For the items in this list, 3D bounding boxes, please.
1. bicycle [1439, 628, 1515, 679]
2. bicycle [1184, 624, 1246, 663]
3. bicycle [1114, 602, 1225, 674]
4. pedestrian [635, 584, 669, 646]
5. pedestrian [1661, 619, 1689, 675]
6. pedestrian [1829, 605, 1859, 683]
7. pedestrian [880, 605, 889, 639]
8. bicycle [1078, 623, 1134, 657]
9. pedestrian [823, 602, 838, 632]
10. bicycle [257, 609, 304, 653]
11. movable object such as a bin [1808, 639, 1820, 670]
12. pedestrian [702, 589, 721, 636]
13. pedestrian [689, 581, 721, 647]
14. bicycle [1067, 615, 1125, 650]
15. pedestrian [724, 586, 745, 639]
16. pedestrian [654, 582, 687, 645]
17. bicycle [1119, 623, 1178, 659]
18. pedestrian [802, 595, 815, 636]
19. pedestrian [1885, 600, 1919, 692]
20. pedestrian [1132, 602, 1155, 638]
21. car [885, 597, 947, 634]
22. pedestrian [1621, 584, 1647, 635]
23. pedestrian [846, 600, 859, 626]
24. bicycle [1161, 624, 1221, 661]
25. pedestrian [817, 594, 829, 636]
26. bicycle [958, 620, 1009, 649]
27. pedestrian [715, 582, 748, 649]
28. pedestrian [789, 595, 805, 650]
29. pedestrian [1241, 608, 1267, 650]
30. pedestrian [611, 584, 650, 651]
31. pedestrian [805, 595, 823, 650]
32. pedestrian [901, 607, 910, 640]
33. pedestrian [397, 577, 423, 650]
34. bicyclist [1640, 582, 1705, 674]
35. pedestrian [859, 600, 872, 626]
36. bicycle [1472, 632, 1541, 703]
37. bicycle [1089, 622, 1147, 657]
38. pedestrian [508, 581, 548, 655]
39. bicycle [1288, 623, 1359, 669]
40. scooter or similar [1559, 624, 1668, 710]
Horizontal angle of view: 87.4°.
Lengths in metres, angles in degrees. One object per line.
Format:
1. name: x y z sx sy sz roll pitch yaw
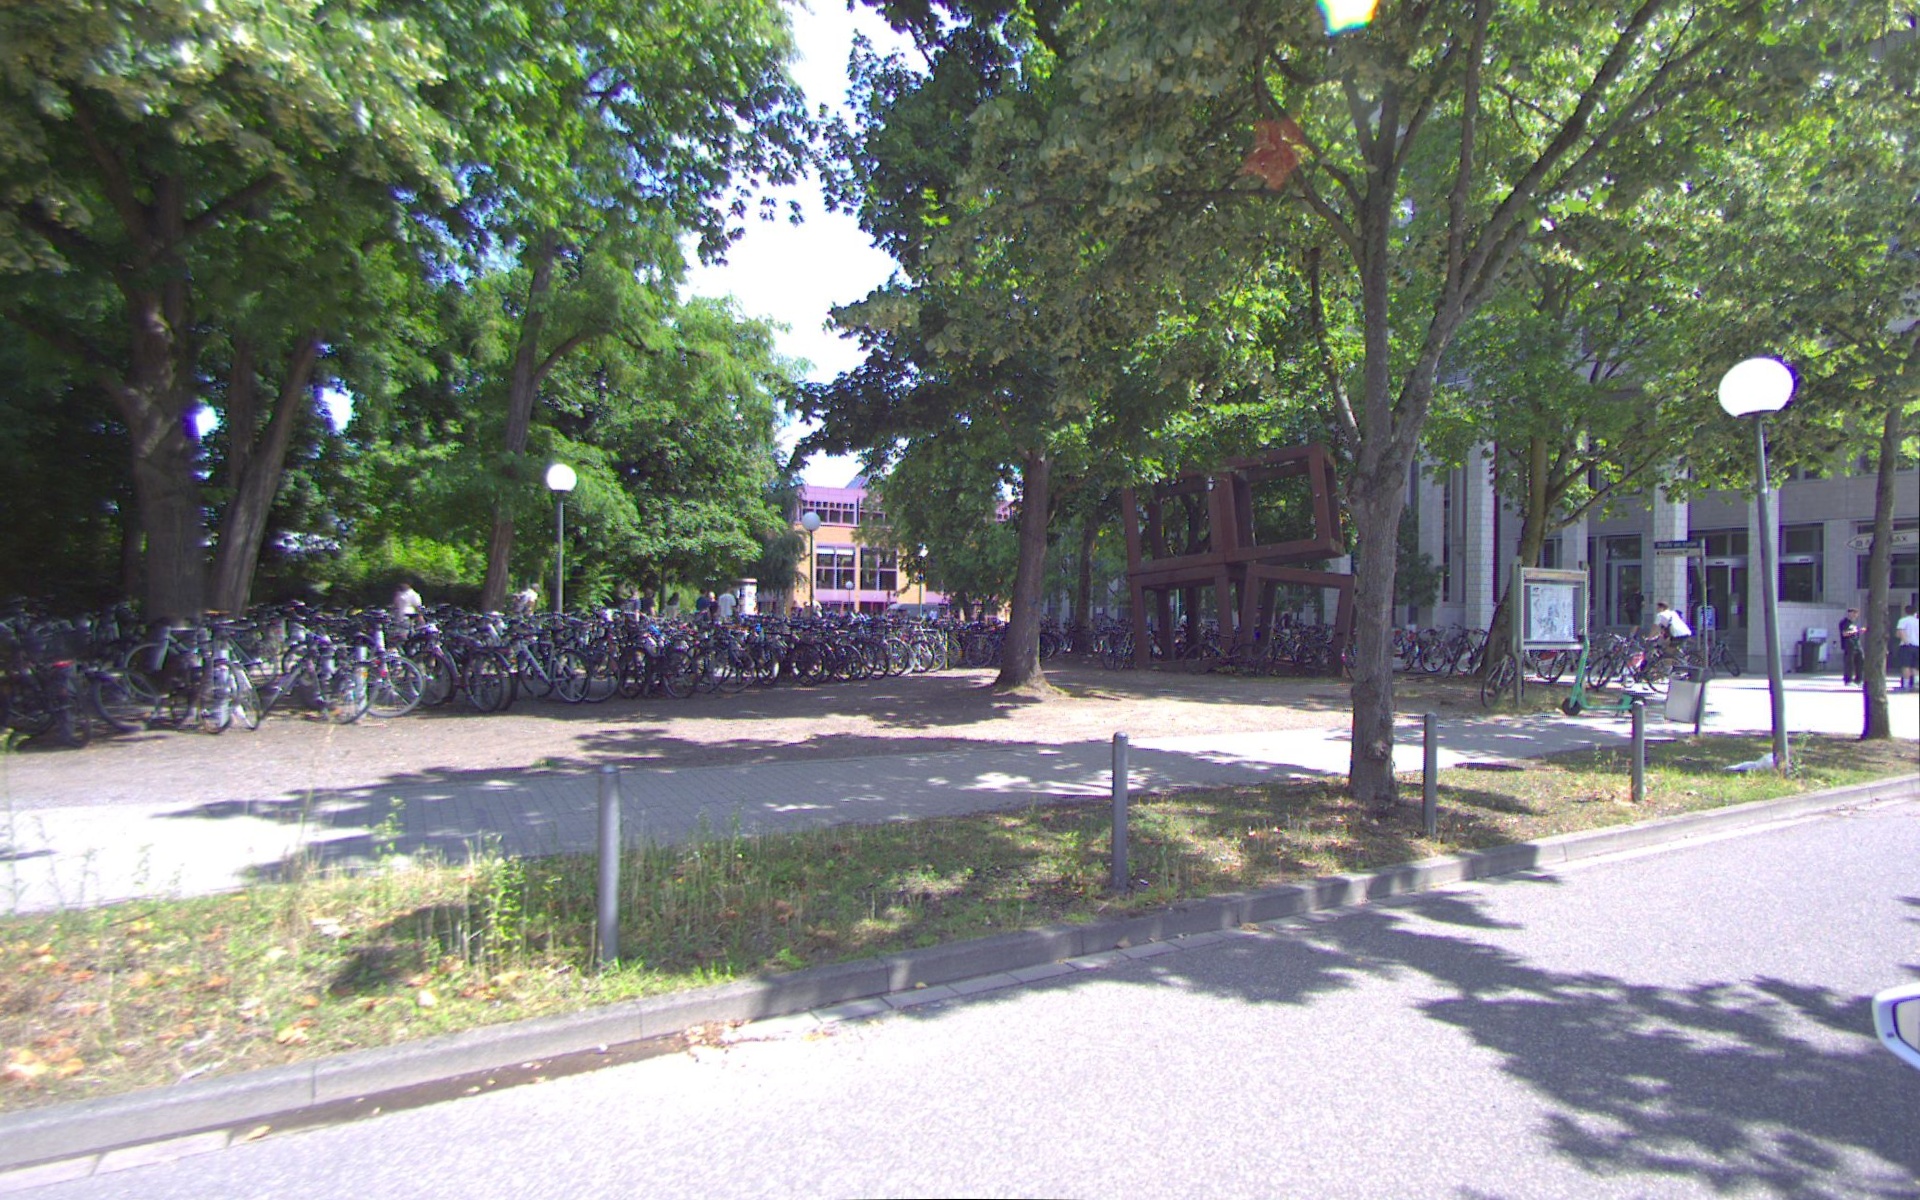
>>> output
1. bicycle: 11.761 1.198 22.827 1.950 1.101 0.549 1 1 -30
2. bicycle: 7.662 1.301 30.117 1.950 1.101 0.549 1 1 -30
3. bicycle: 4.516 0.792 21.710 2.248 1.469 0.606 1 0 28
4. pedestrian: -8.517 0.407 27.810 0.545 1.693 0.703 1 0 25
5. pedestrian: 18.411 1.213 25.855 0.440 1.402 0.462 -3 1 -39
6. pedestrian: 20.604 1.016 23.416 0.434 1.799 0.450 1 0 30
7. pedestrian: -4.497 1.313 60.062 0.446 2.040 0.611 1 0 3
8. bicycle: 4.953 1.336 34.016 1.950 1.101 0.549 1 1 -30
9. pedestrian: -7.227 0.952 56.076 0.751 1.617 0.392 1 0 -31
10. bicycle: -14.858 0.659 21.944 1.741 0.906 0.417 1 0 41
11. movable object such as a bin: 25.097 1.609 29.529 0.444 0.907 0.167 1 0 -36
12. pedestrian: -8.355 0.422 33.784 0.402 1.547 0.486 1 0 30
13. pedestrian: -7.625 0.414 30.077 0.610 1.960 0.681 1 0 25
14. bicycle: 4.700 1.109 34.621 2.066 1.137 0.547 -1 2 -30
15. pedestrian: -7.539 0.425 33.560 0.405 1.736 0.544 1 0 30
16. pedestrian: -7.964 0.358 27.622 0.545 1.693 0.693 1 0 25
17. bicycle: 6.027 1.309 32.121 1.950 1.101 0.549 1 1 -30
18. pedestrian: -7.490 0.755 49.673 0.566 2.040 0.532 1 0 -15
19. pedestrian: 20.665 0.990 22.023 0.406 1.968 0.661 1 1 31
20. pedestrian: 8.201 0.890 44.799 0.714 1.561 0.696 1 0 -40
21. car: -3.480 1.249 79.638 4.582 2.813 1.980 1 0 -35
22. pedestrian: 22.485 0.328 33.521 0.624 1.683 0.693 1 0 30
23. pedestrian: -6.875 0.803 64.036 0.595 1.627 0.627 1 0 -30
24. bicycle: 7.236 1.329 31.386 1.950 1.101 0.549 1 1 -30
25. pedestrian: -6.732 0.743 49.384 0.511 2.040 0.532 1 0 -15
26. bicycle: 0.940 1.383 40.011 1.950 1.101 0.614 1 1 -30
27. pedestrian: -6.753 0.456 29.726 0.636 1.960 0.696 1 0 25
28. pedestrian: -6.107 0.830 37.652 0.511 2.040 0.532 1 0 -15
29. pedestrian: 11.539 1.132 39.449 0.590 1.614 0.824 1 0 -28
30. pedestrian: -8.541 0.453 26.032 0.620 1.693 0.729 1 0 25
31. pedestrian: -5.488 0.822 37.632 0.583 2.040 0.532 1 0 -15
32. pedestrian: -3.483 1.480 63.758 0.457 2.040 0.611 1 0 3
33. pedestrian: -12.446 0.301 22.743 0.455 1.636 0.349 1 0 -23
34. bicyclist: 16.275 0.637 22.948 0.862 2.040 0.846 1 0 -19
35. pedestrian: -6.017 0.826 64.071 0.595 1.627 0.627 1 0 -30
36. bicycle: 8.500 1.017 15.593 1.802 1.039 0.378 1 0 -42
37. bicycle: 5.258 1.317 33.381 1.950 1.101 0.549 1 1 -30
38. pedestrian: -9.994 0.406 23.254 0.567 1.693 0.630 1 0 25
39. bicycle: 8.477 1.062 23.403 1.828 1.046 0.473 1 0 -30
40. scooter or similar: 9.531 0.971 14.673 1.301 1.191 0.340 1 0 5
